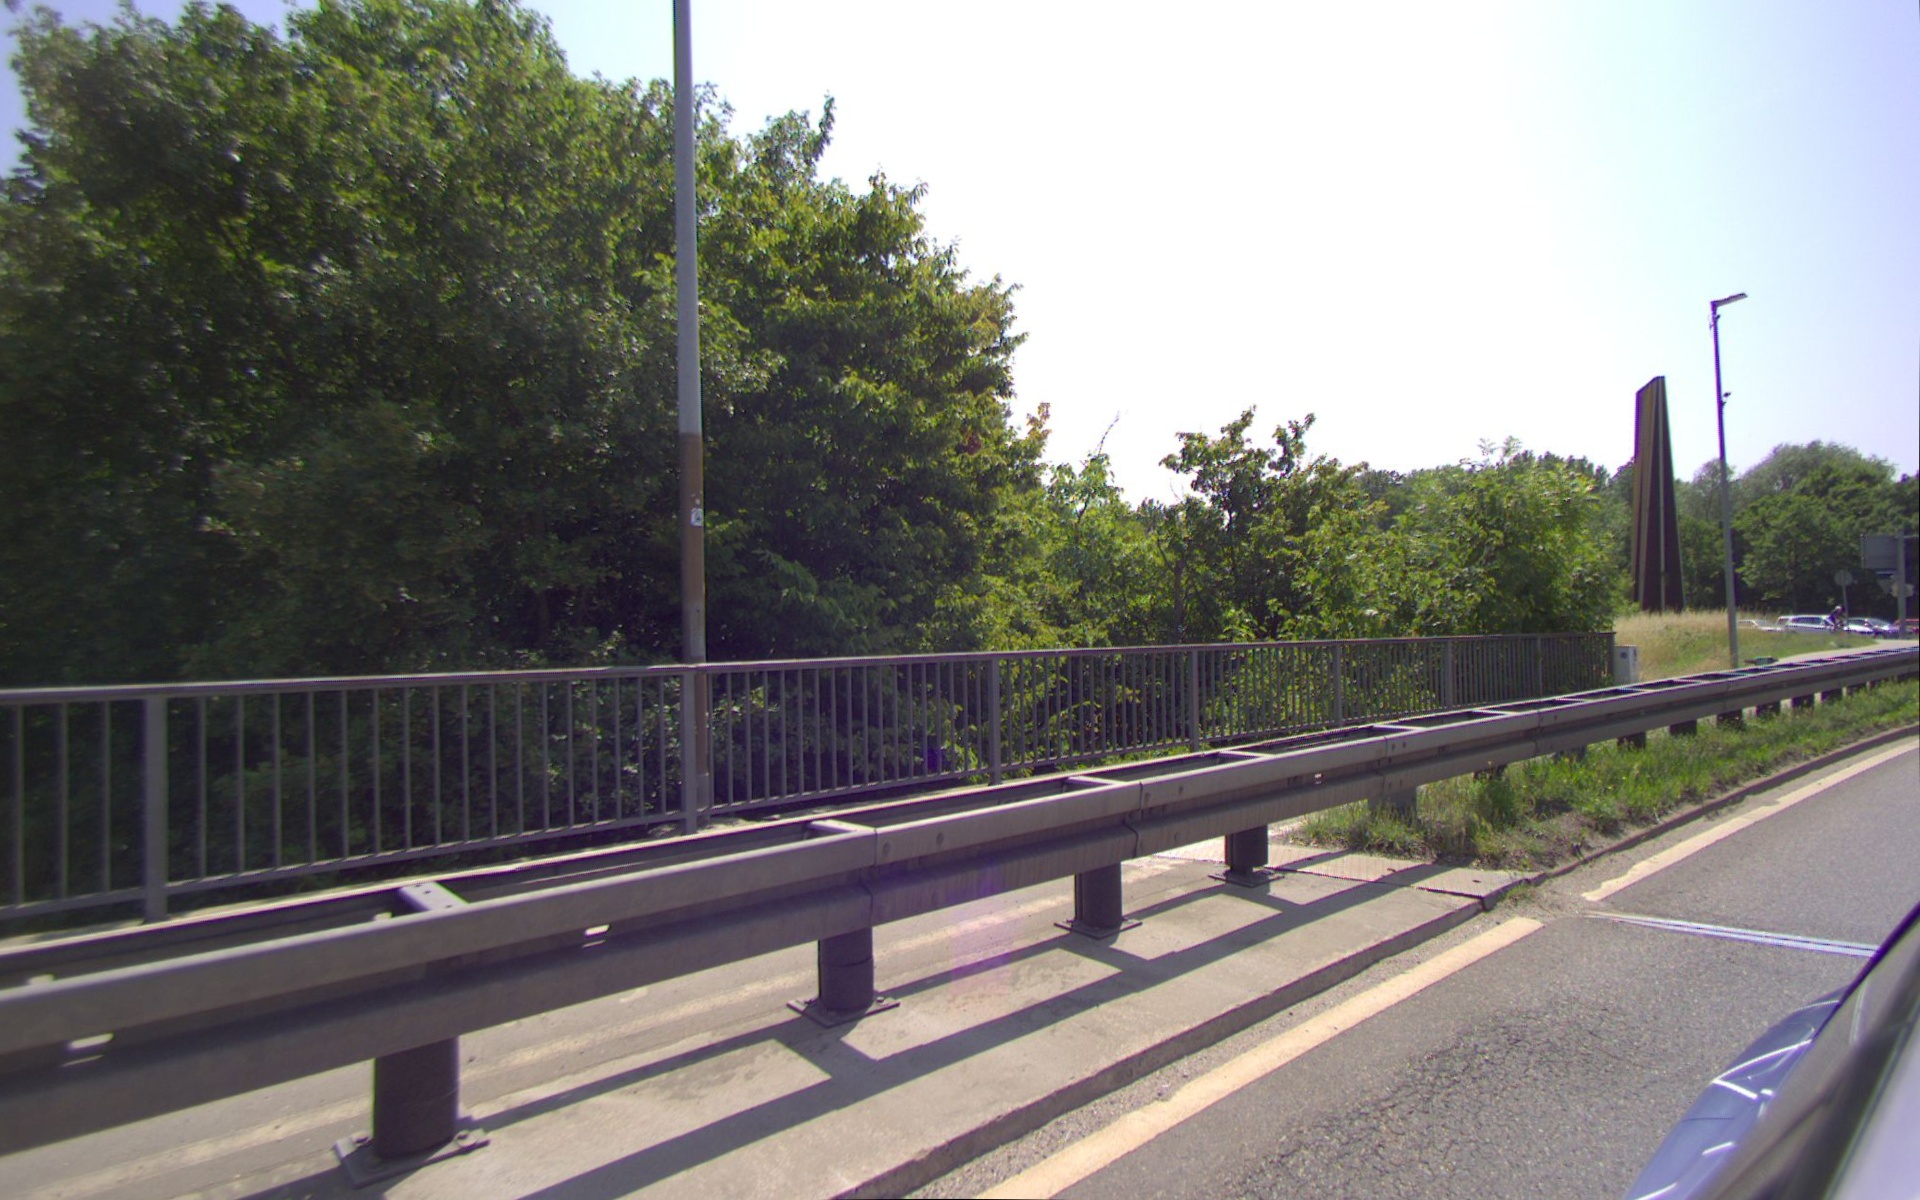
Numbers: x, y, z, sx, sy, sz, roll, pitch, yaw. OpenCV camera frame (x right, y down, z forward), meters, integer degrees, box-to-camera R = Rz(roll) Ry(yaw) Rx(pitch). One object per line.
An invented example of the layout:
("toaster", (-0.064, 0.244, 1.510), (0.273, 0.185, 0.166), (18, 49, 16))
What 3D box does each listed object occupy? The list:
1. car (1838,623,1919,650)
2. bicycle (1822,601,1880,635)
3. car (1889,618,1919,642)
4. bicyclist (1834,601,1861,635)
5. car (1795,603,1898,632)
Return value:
("car", (53.579, 2.092, 58.462), (1.831, 1.442, 4.189), (1, -1, -4))
("bicycle", (42.364, 0.853, 48.137), (0.644, 1.594, 2.374), (1, -1, 0))
("car", (56.600, 1.745, 58.507), (1.720, 1.372, 4.189), (1, -1, -4))
("bicyclist", (42.366, 0.869, 48.336), (0.658, 1.619, 0.691), (1, -1, 0))
("car", (50.017, 0.984, 57.250), (1.831, 1.525, 4.300), (1, -1, -4))
